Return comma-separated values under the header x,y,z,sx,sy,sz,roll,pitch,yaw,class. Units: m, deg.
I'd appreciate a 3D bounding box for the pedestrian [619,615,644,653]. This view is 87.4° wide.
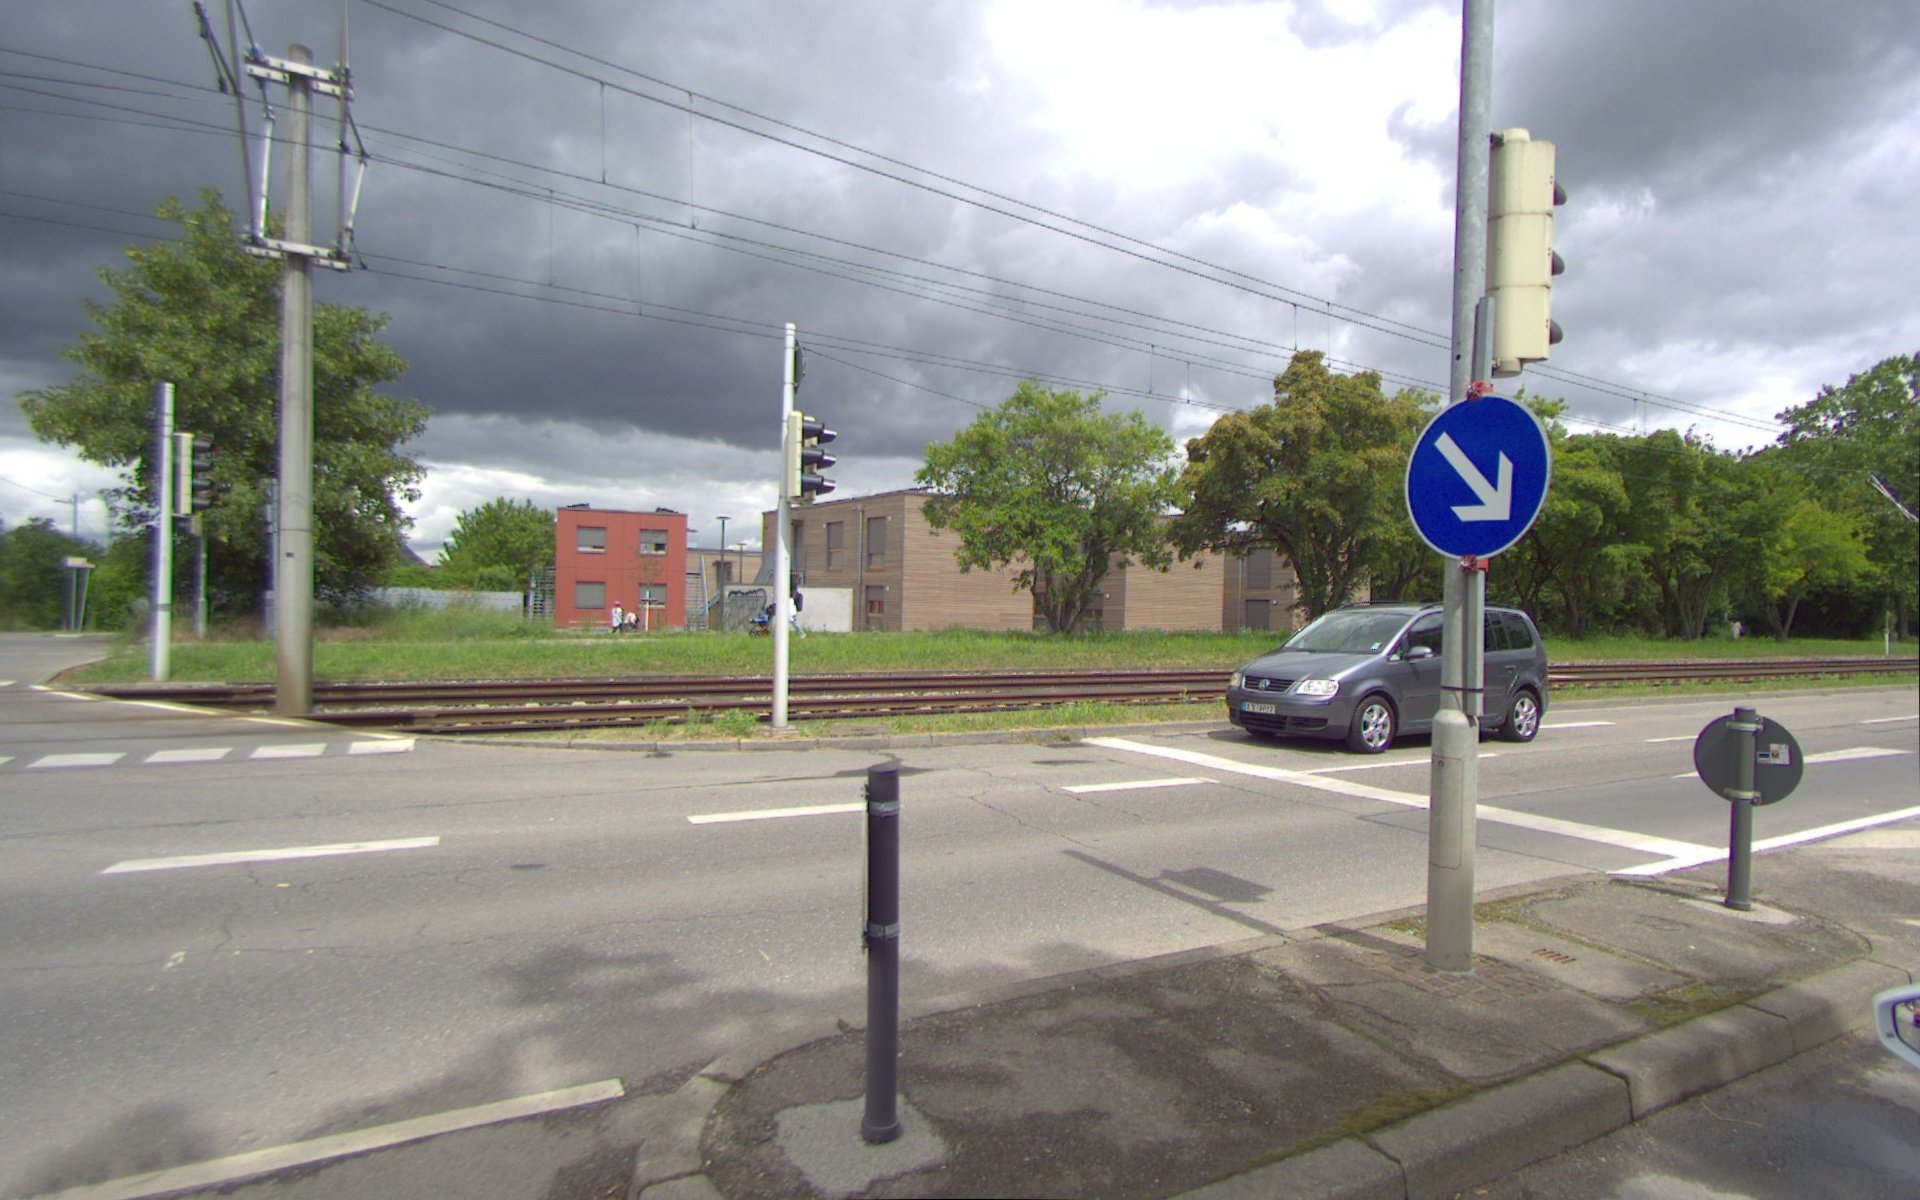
x,y,z,sx,sy,sz,roll,pitch,yaw,class
-13.189,1.350,40.374,0.686,1.475,0.673,2,2,14,pedestrian

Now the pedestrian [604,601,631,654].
x,y,z,sx,sy,sz,roll,pitch,yaw,class
-13.499,1.082,39.622,0.660,2.041,0.700,3,2,25,pedestrian

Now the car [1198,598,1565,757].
x,y,z,sx,sy,sz,roll,pitch,yaw,class
5.079,0.825,11.980,4.292,1.591,1.776,1,0,-29,car

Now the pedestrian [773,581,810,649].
x,y,z,sx,sy,sz,roll,pitch,yaw,class
-4.661,0.410,27.763,0.797,1.836,0.799,1,2,-24,pedestrian

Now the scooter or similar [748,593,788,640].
x,y,z,sx,sy,sz,roll,pitch,yaw,class
-5.257,0.447,27.464,0.860,1.256,0.786,1,2,-26,scooter or similar
